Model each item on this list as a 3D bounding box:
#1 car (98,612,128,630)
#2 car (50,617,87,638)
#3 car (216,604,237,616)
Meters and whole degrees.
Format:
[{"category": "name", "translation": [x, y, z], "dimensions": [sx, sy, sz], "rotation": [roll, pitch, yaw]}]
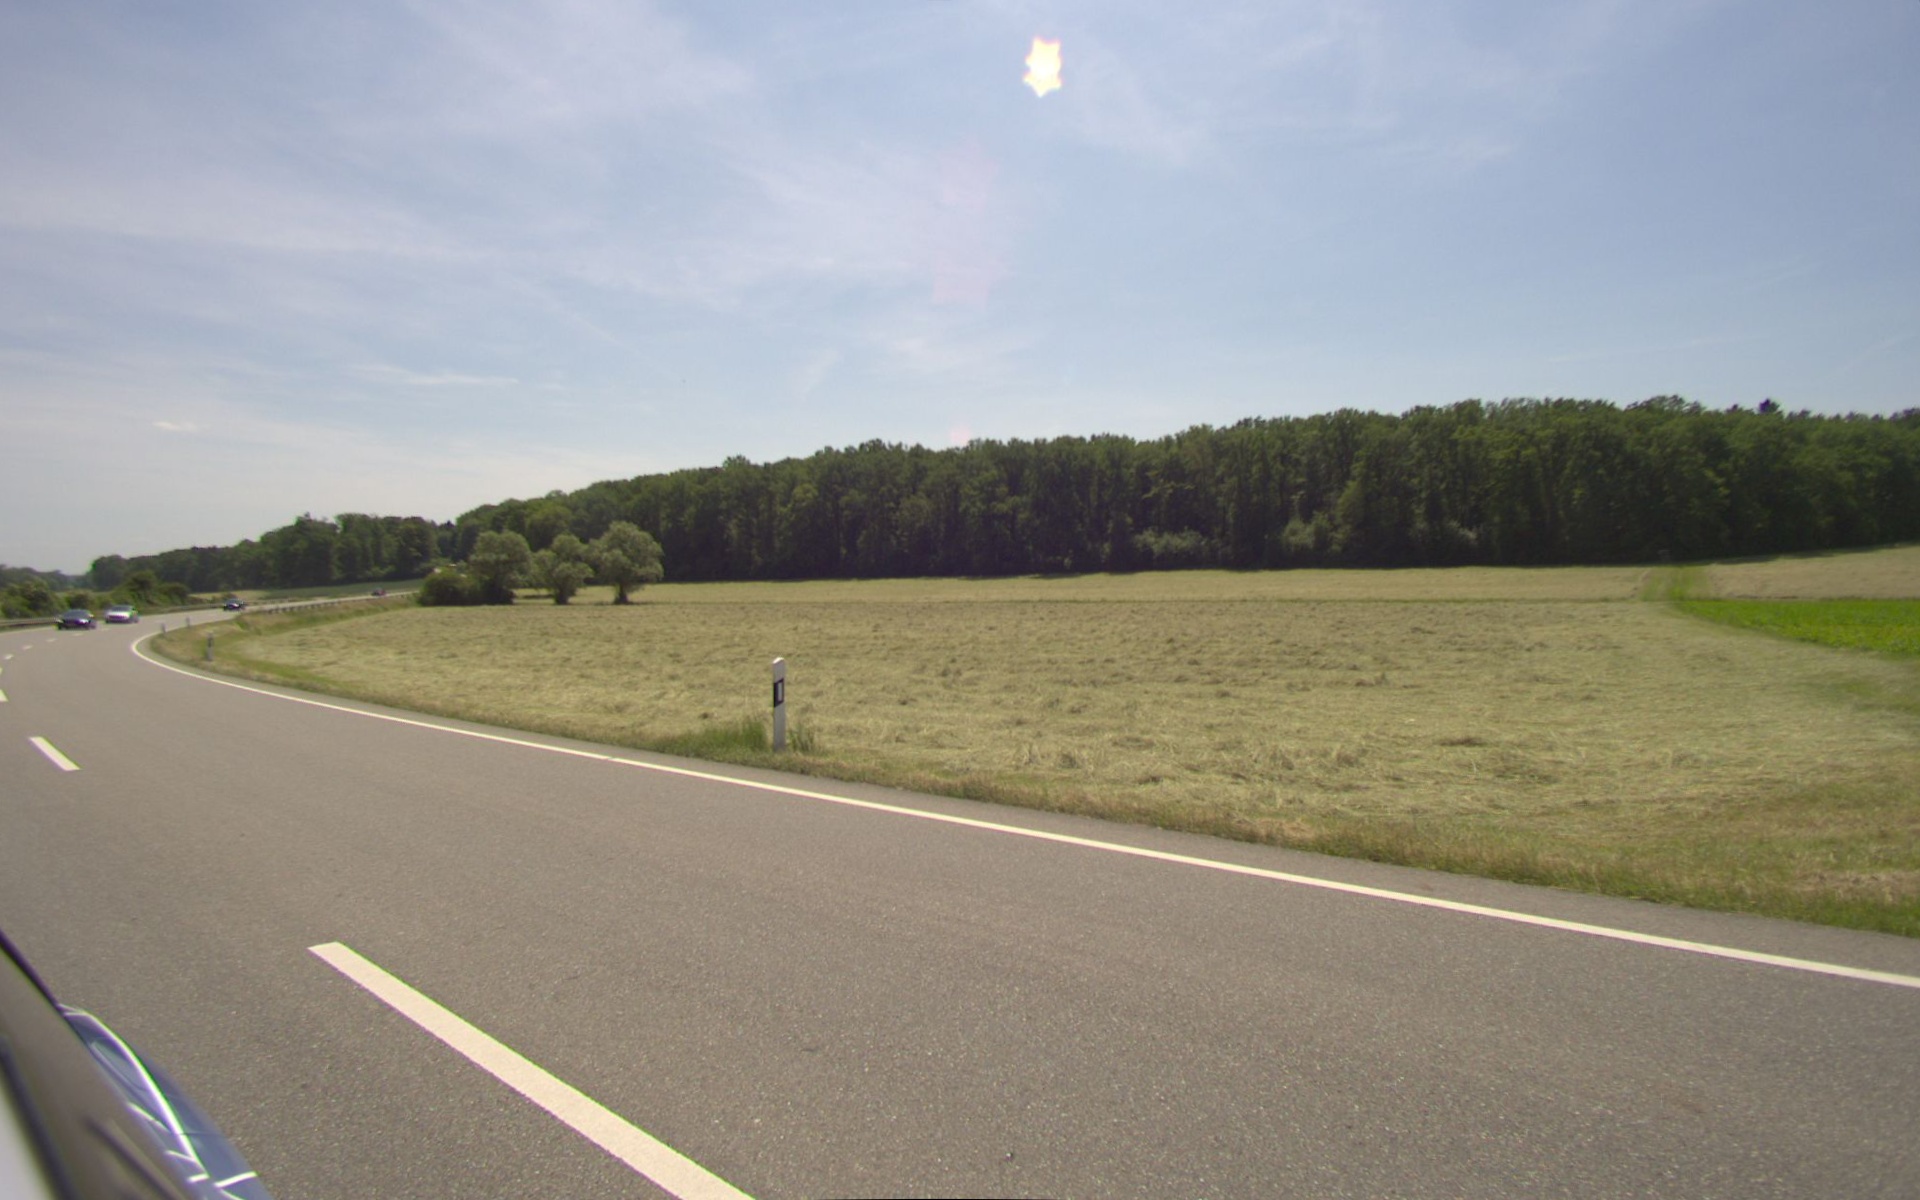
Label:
[{"category": "car", "translation": [-74.335, 1.849, 88.861], "dimensions": [1.595, 1.447, 3.452], "rotation": [-1, 2, -34]}, {"category": "car", "translation": [-64.987, 1.976, 73.817], "dimensions": [1.596, 1.447, 3.452], "rotation": [-1, 0, -34]}, {"category": "car", "translation": [-94.962, 1.263, 131.121], "dimensions": [1.594, 1.447, 3.455], "rotation": [-1, 2, -25]}]
